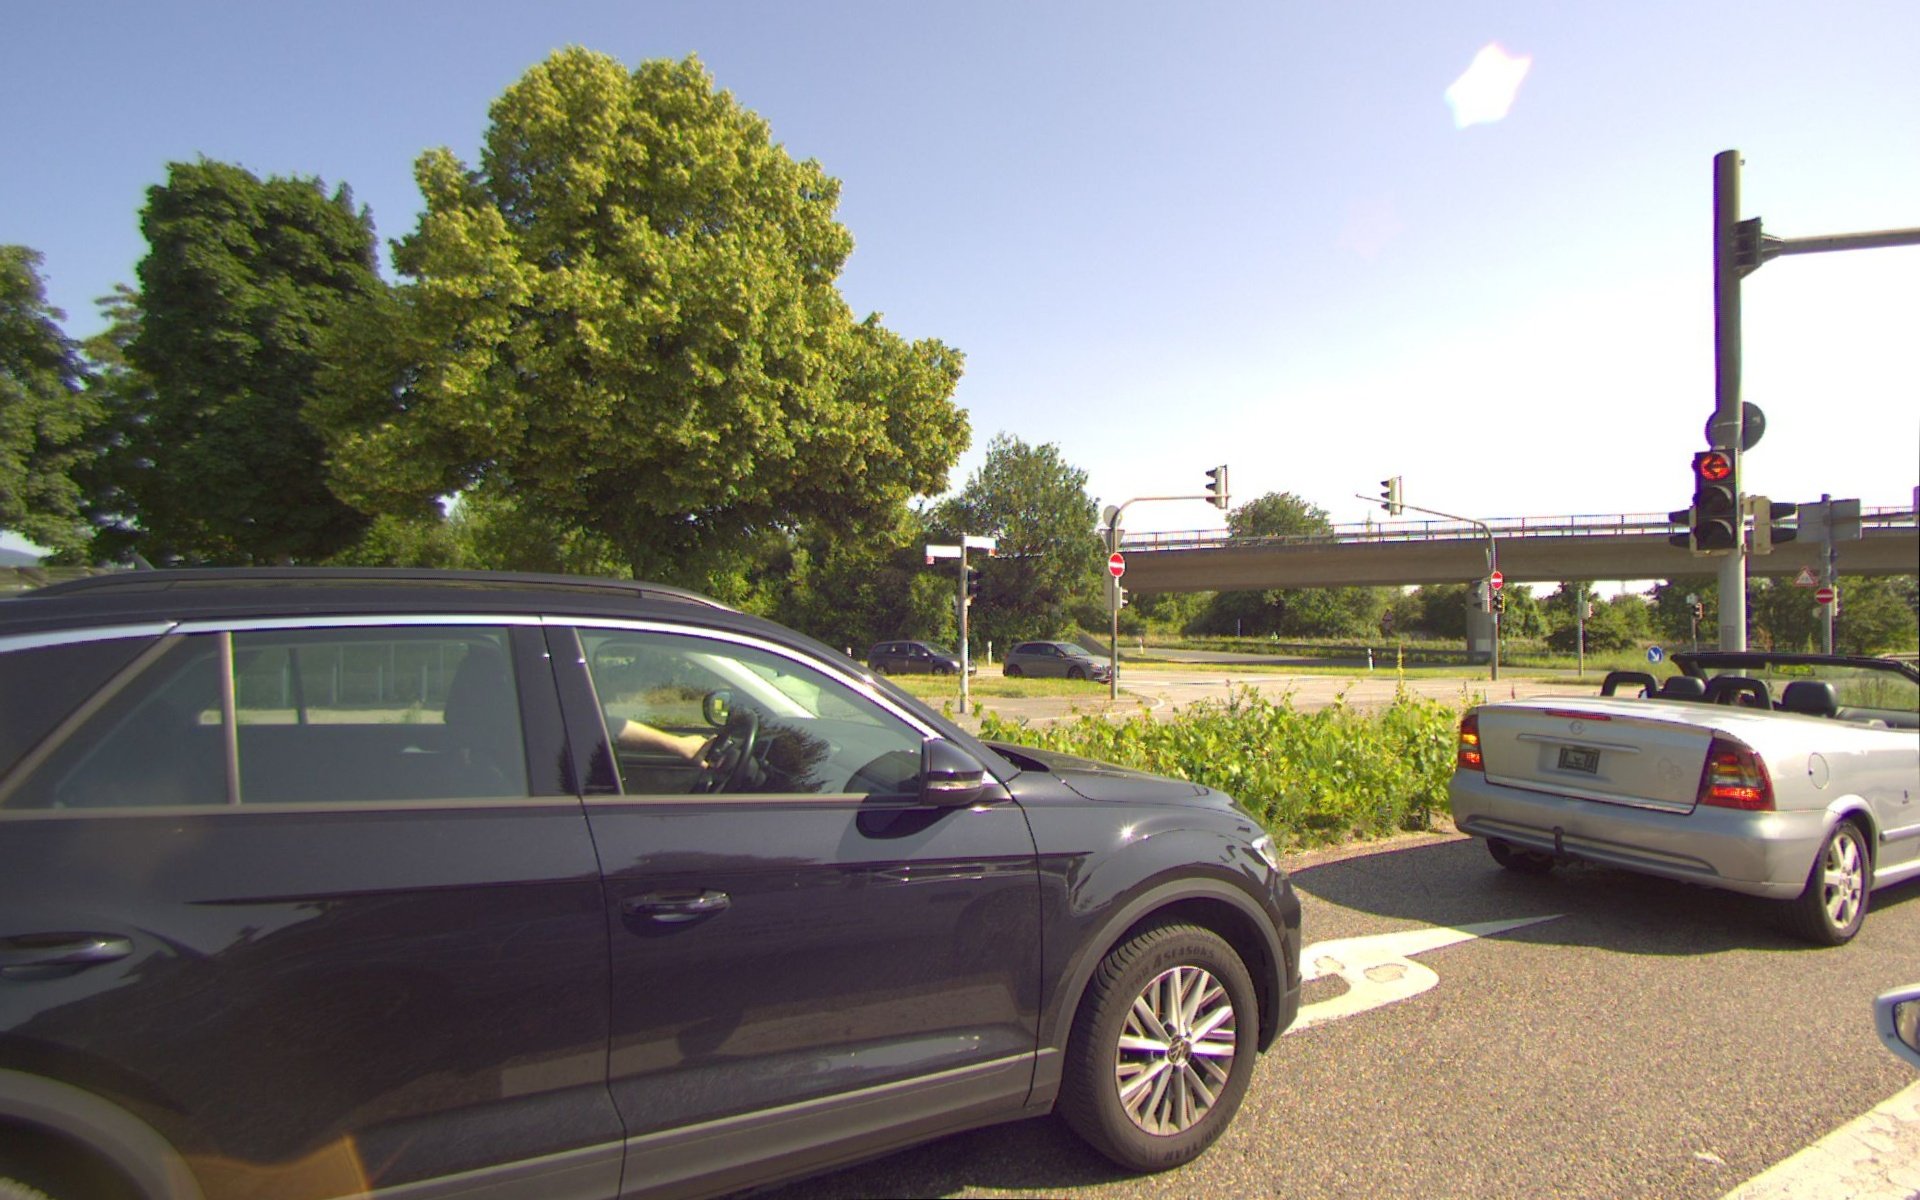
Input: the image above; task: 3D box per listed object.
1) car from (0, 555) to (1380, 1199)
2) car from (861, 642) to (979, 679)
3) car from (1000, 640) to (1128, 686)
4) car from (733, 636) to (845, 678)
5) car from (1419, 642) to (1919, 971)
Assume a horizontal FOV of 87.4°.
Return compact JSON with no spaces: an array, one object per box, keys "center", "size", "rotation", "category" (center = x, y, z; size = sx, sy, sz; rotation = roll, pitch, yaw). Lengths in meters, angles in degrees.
[{"center":[-0.909,0.738,2.751],"size":[4.049,1.568,1.721],"rotation":[1,-1,-30],"category":"car"},{"center":[-1.528,2.219,37.697],"size":[4.279,1.297,1.647],"rotation":[-1,-2,32],"category":"car"},{"center":[3.545,2.126,34.559],"size":[4.066,1.443,1.862],"rotation":[-2,-3,41],"category":"car"},{"center":[-6.868,2.241,40.233],"size":[4.272,1.616,1.650],"rotation":[-1,-2,25],"category":"car"},{"center":[4.759,0.937,5.966],"size":[4.049,1.352,1.666],"rotation":[1,-2,-30],"category":"car"}]
